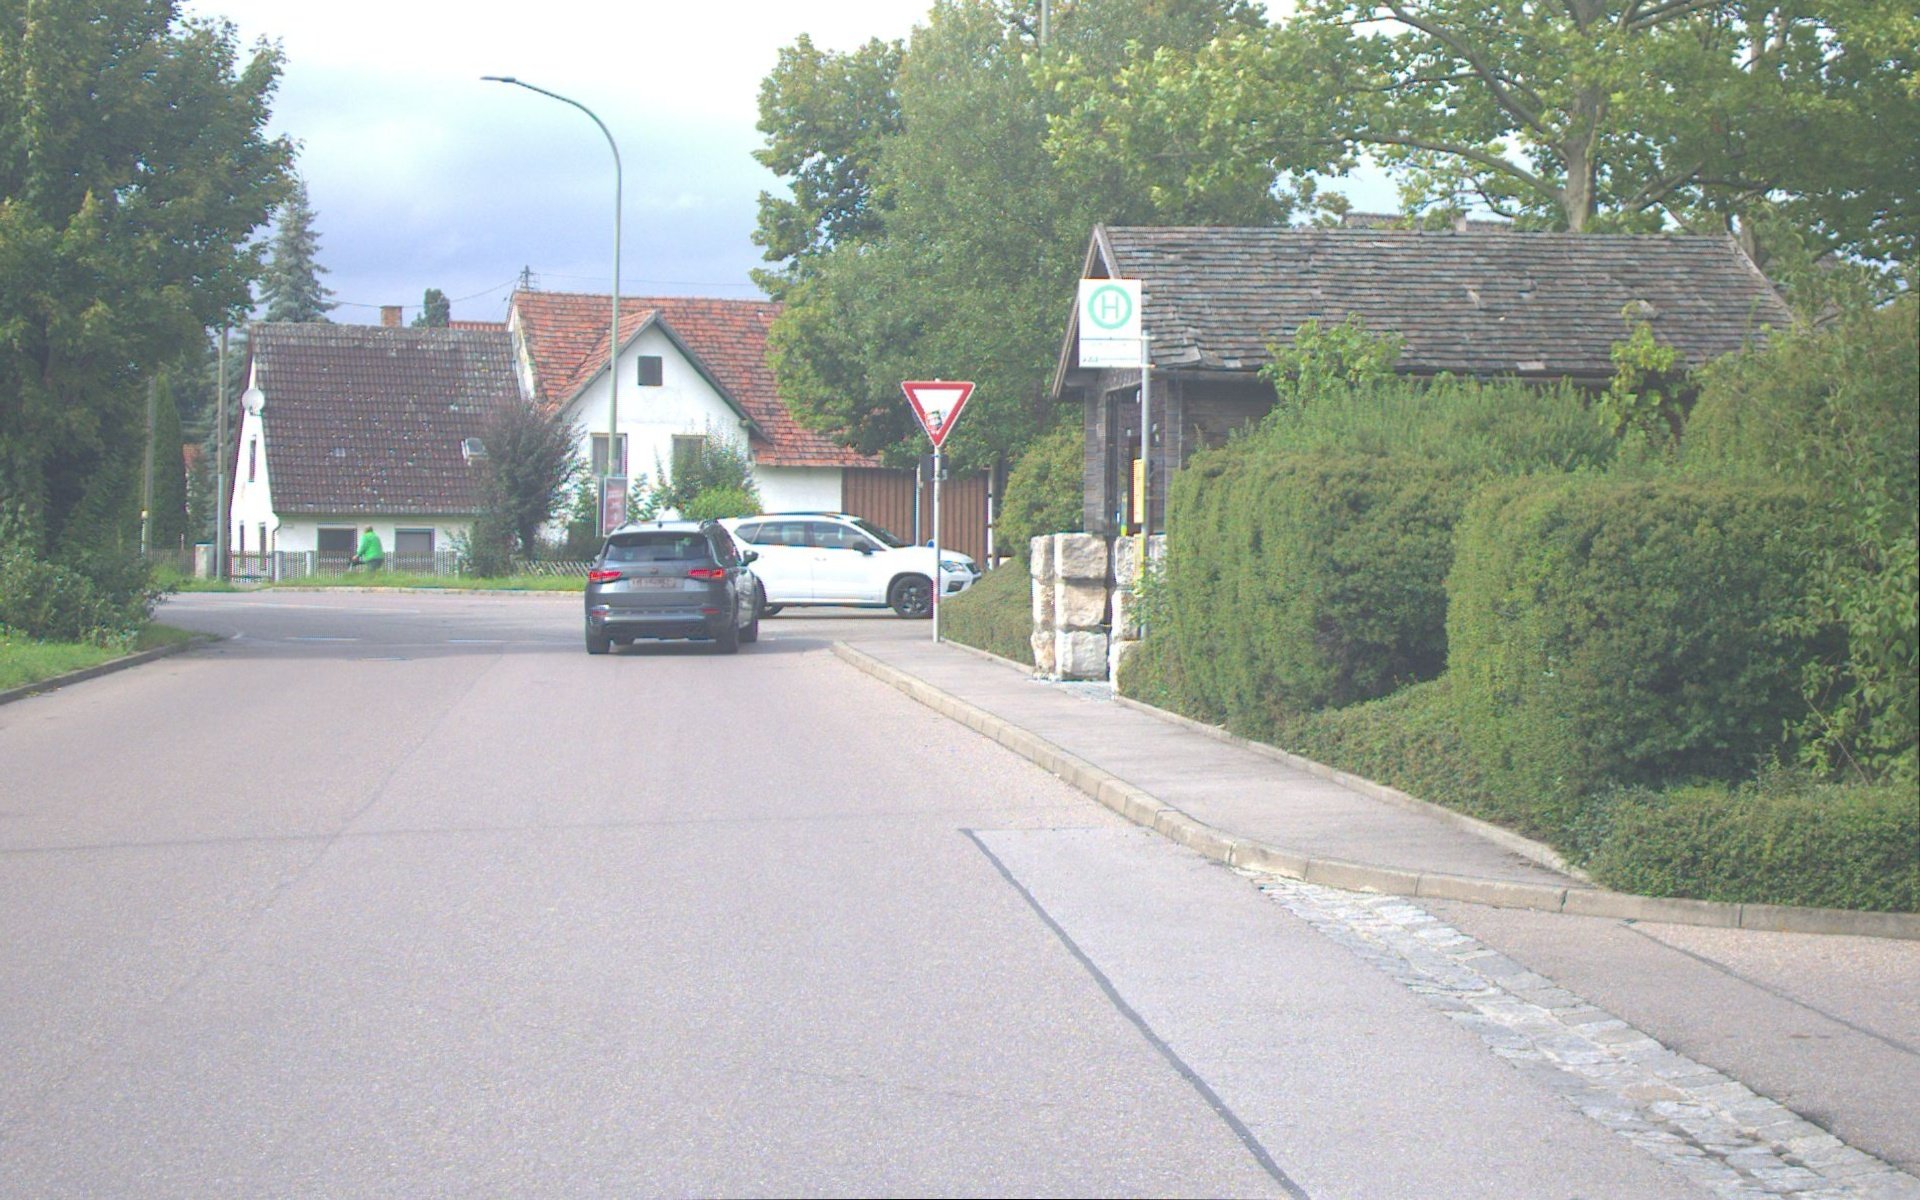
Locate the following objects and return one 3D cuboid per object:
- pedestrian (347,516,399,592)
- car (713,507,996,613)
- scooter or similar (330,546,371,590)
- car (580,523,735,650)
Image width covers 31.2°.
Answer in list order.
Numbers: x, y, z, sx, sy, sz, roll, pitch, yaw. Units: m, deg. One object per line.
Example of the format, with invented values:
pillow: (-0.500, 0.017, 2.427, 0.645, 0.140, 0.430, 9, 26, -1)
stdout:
pedestrian: (-13.330, -1.042, 78.081, 0.788, 1.659, 0.712, 5, -2, -38)
car: (-1.585, -0.620, 52.350, 3.979, 1.510, 1.803, 1, 1, 12)
scooter or similar: (-13.916, -0.735, 78.526, 0.630, 0.945, 0.622, 5, -2, -38)
car: (-3.659, -0.194, 41.744, 1.798, 1.457, 3.663, 0, 1, -5)
